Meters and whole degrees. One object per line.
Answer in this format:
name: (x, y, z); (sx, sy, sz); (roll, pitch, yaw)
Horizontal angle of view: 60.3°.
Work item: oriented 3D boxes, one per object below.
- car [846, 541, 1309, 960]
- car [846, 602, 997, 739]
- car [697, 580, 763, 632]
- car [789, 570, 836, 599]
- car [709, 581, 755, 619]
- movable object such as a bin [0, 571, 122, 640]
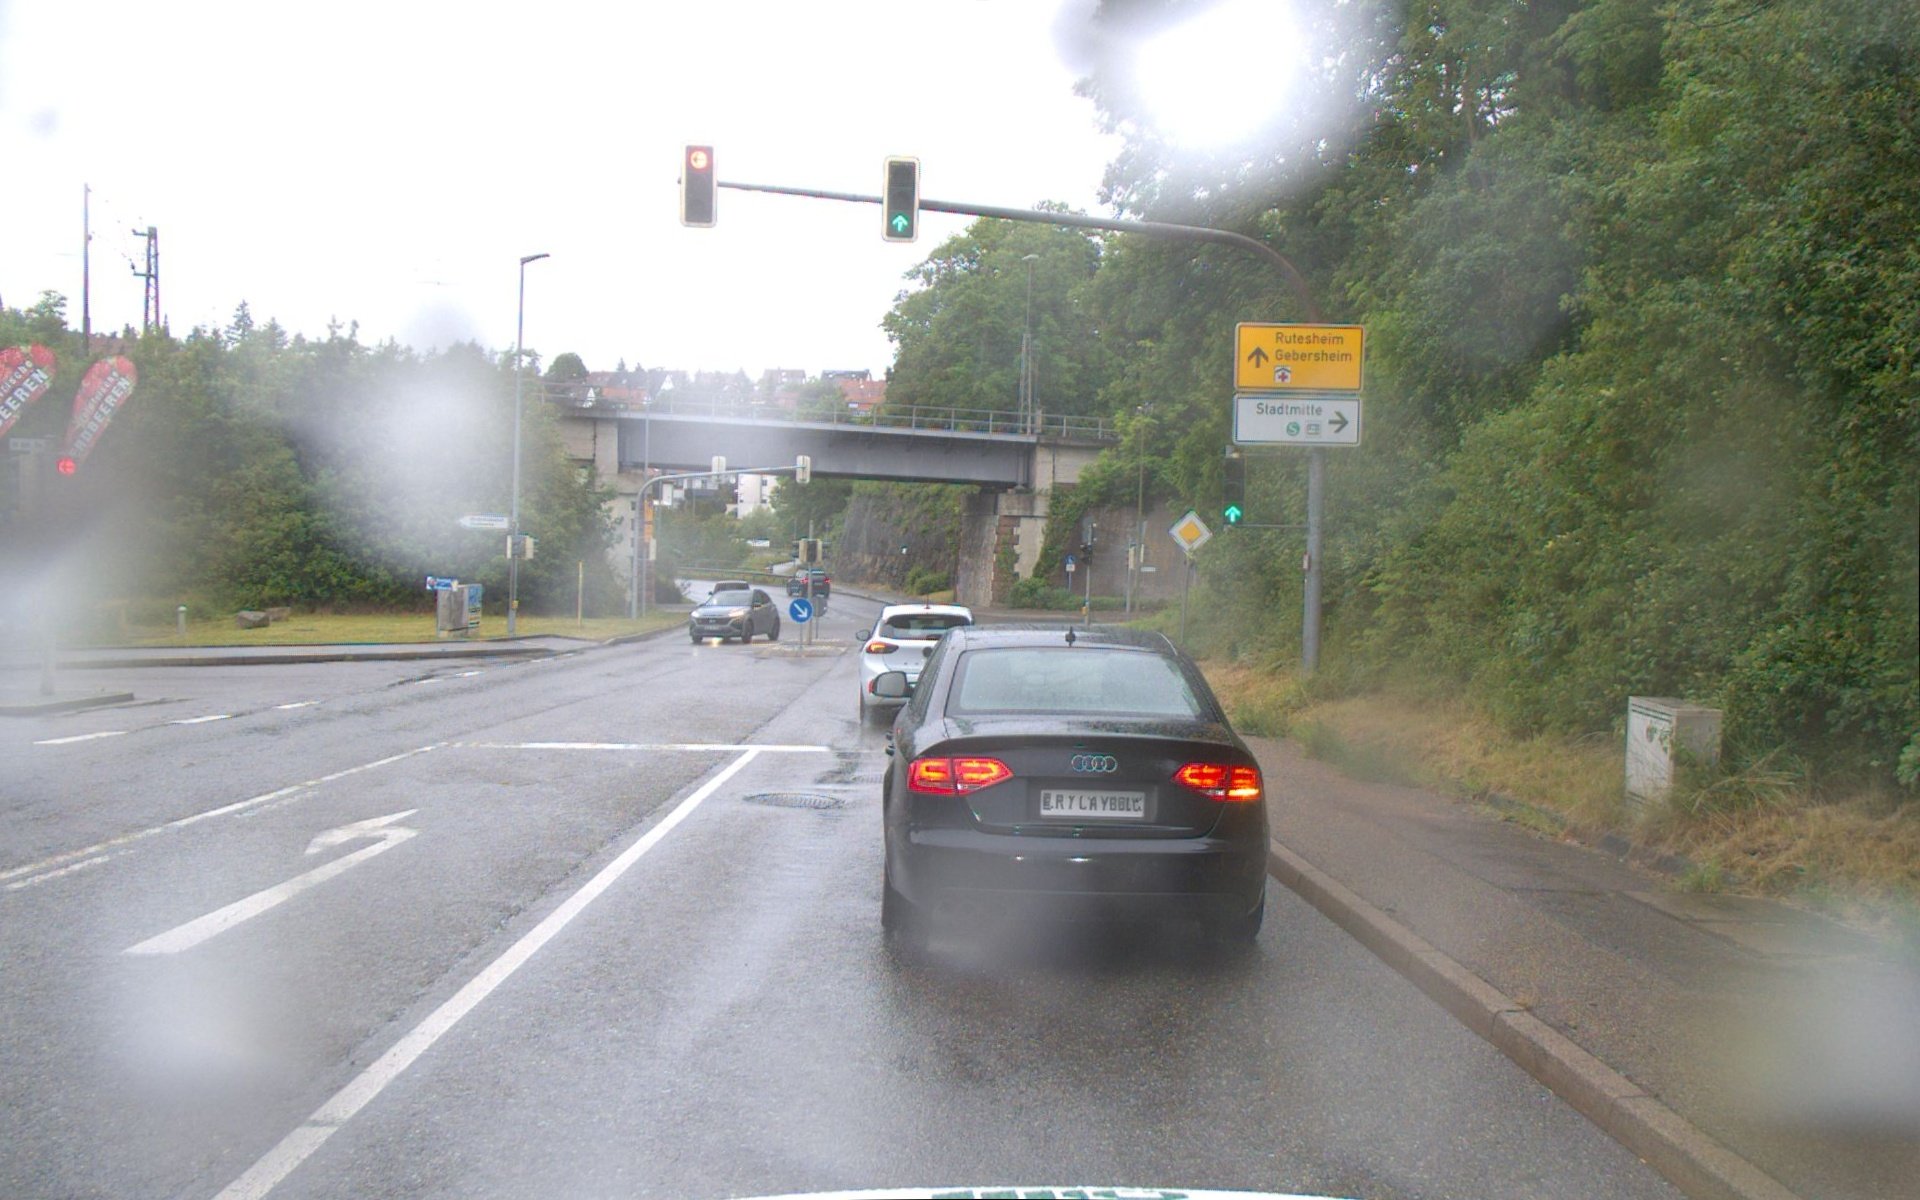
car: (0.441, 0.636, 8.564); (1.832, 1.645, 3.999); (1, -1, -1)
car: (-0.492, 0.880, 21.756); (1.786, 1.613, 3.999); (1, -1, -1)
car: (-6.943, 0.166, 50.199); (1.606, 1.495, 3.998); (0, 0, -2)
car: (-8.909, -0.951, 99.702); (1.963, 1.623, 3.981); (0, 3, -18)
car: (-10.132, -0.011, 73.677); (1.956, 1.657, 3.993); (0, 0, -8)
movable object such as a bin: (-24.170, 0.144, 40.700); (2.699, 1.656, 5.752); (0, -1, 39)
